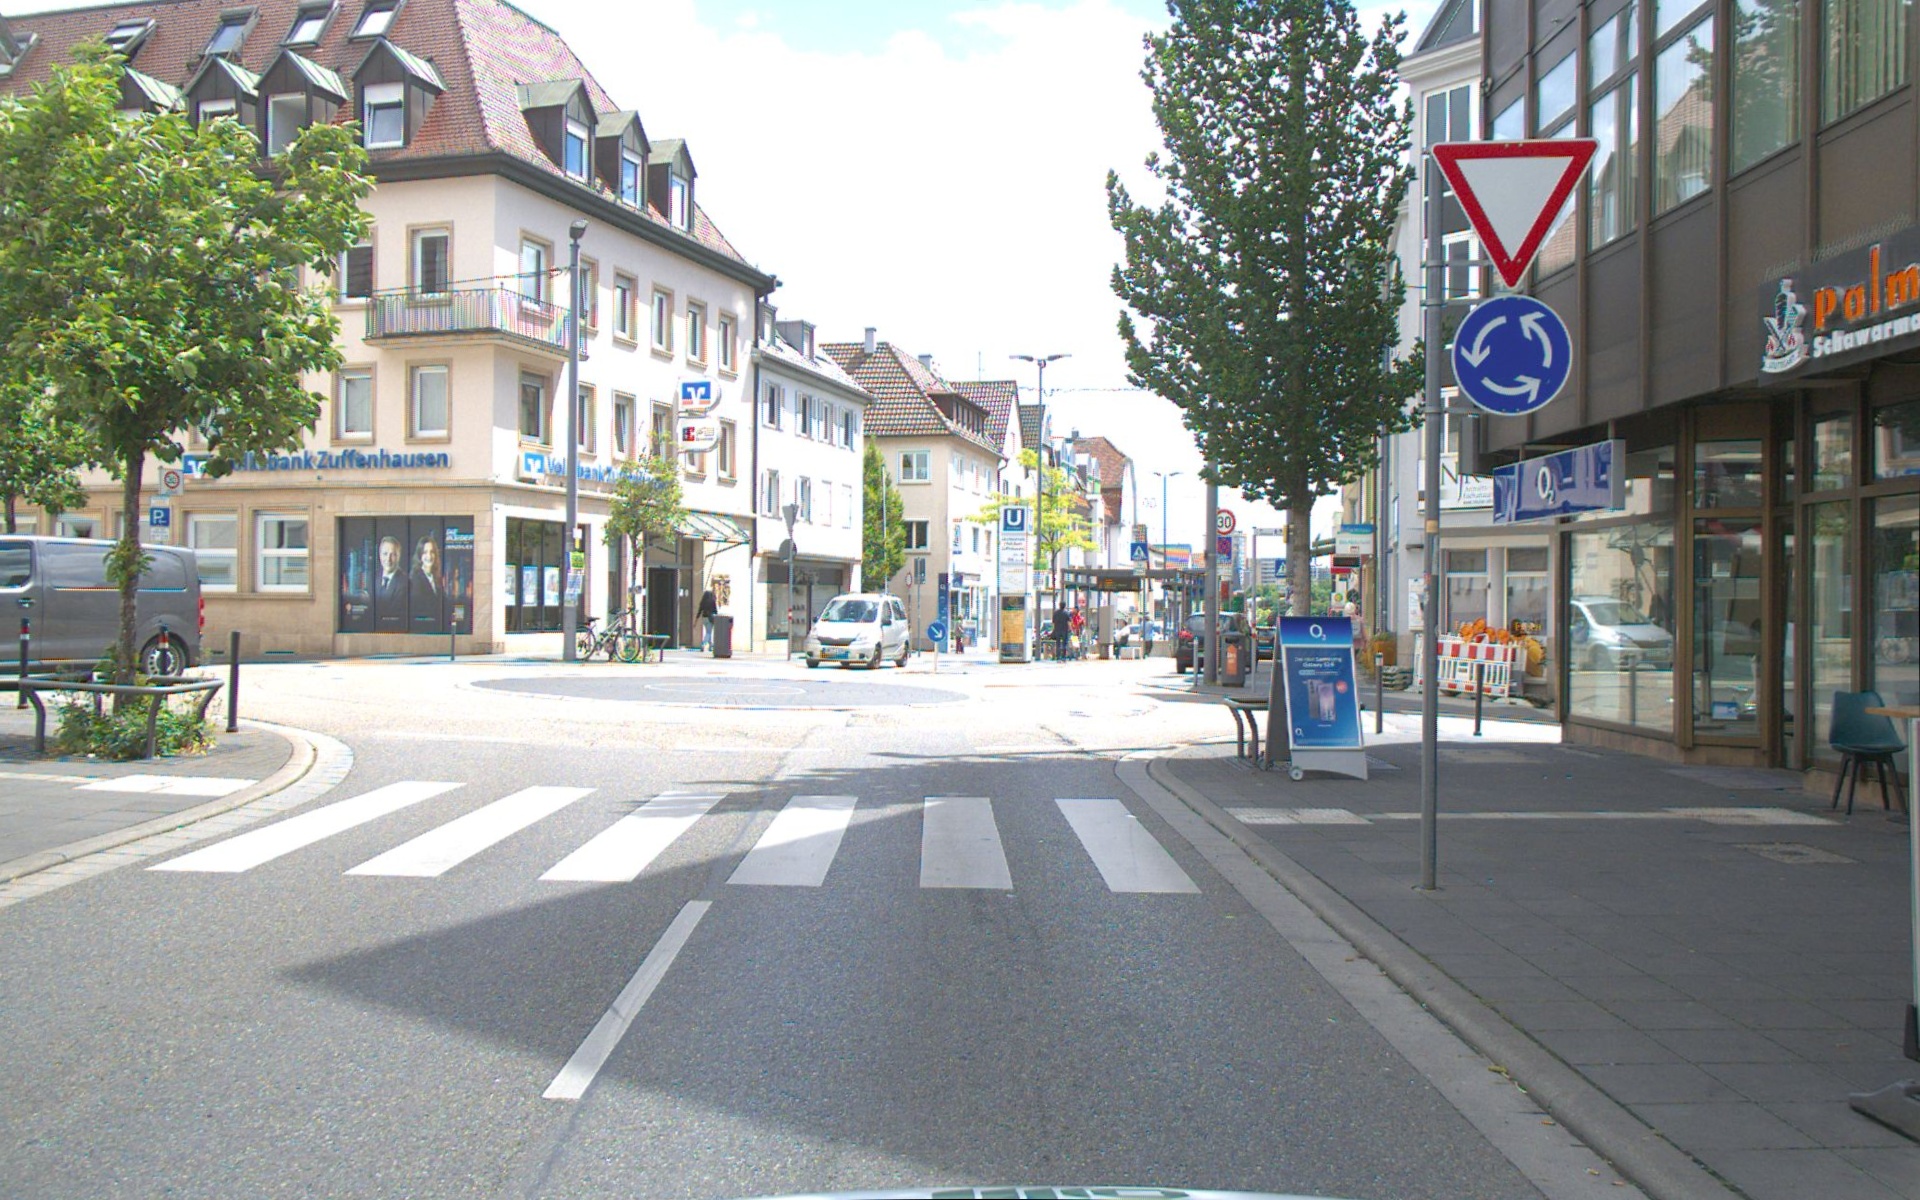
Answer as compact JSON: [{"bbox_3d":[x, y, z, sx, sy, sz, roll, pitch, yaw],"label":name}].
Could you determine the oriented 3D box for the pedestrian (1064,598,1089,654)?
[{"bbox_3d":[3.783,0.839,53.705,0.712,1.794,0.749,1,0,9],"label":"pedestrian"}]

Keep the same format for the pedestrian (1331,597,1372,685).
[{"bbox_3d":[7.819,0.819,33.068,0.608,1.719,0.652,2,-1,-1],"label":"pedestrian"}]

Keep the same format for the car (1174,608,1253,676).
[{"bbox_3d":[6.322,1.012,40.965,1.661,1.557,3.474,2,0,13],"label":"car"}]

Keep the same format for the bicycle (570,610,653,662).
[{"bbox_3d":[-7.363,0.757,34.974,1.597,1.049,0.568,2,0,15],"label":"bicycle"}]

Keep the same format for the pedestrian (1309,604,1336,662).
[{"bbox_3d":[10.797,0.981,49.279,0.608,1.719,0.652,2,-1,-1],"label":"pedestrian"}]

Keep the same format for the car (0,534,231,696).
[{"bbox_3d":[-11.736,0.156,20.224,2.001,1.880,4.993,1,0,27],"label":"car"}]

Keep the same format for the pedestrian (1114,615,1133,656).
[{"bbox_3d":[5.380,1.156,54.281,0.579,1.339,0.591,2,-1,5],"label":"pedestrian"}]

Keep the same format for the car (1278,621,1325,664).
[{"bbox_3d":[13.018,1.598,62.973,1.661,1.557,3.474,2,0,13],"label":"car"}]

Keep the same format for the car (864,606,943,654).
[{"bbox_3d":[-1.952,1.037,58.399,1.806,1.571,4.003,2,0,12],"label":"car"}]

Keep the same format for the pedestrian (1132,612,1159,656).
[{"bbox_3d":[6.947,1.258,62.002,0.715,1.607,0.746,1,0,34],"label":"pedestrian"}]

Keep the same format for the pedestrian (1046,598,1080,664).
[{"bbox_3d":[2.772,0.836,44.353,0.851,1.738,0.531,2,-1,2],"label":"pedestrian"}]

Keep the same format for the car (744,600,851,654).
[{"bbox_3d":[-4.710,0.776,48.591,1.951,1.478,4.003,2,0,12],"label":"car"}]

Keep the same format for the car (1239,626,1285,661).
[{"bbox_3d":[15.547,2.246,85.369,1.908,1.668,4.002,2,0,4],"label":"car"}]

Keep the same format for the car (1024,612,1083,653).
[{"bbox_3d":[4.006,1.367,70.529,1.835,1.652,4.003,2,0,13],"label":"car"}]

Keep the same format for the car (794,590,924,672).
[{"bbox_3d":[-2.257,0.686,38.045,1.951,1.719,4.003,2,0,12],"label":"car"}]

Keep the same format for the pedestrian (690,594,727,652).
[{"bbox_3d":[-6.856,0.627,45.121,0.613,1.559,0.858,1,-1,23],"label":"pedestrian"}]

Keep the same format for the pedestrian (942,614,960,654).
[{"bbox_3d":[-0.368,1.424,69.404,0.678,1.638,0.644,2,-1,2],"label":"pedestrian"}]
